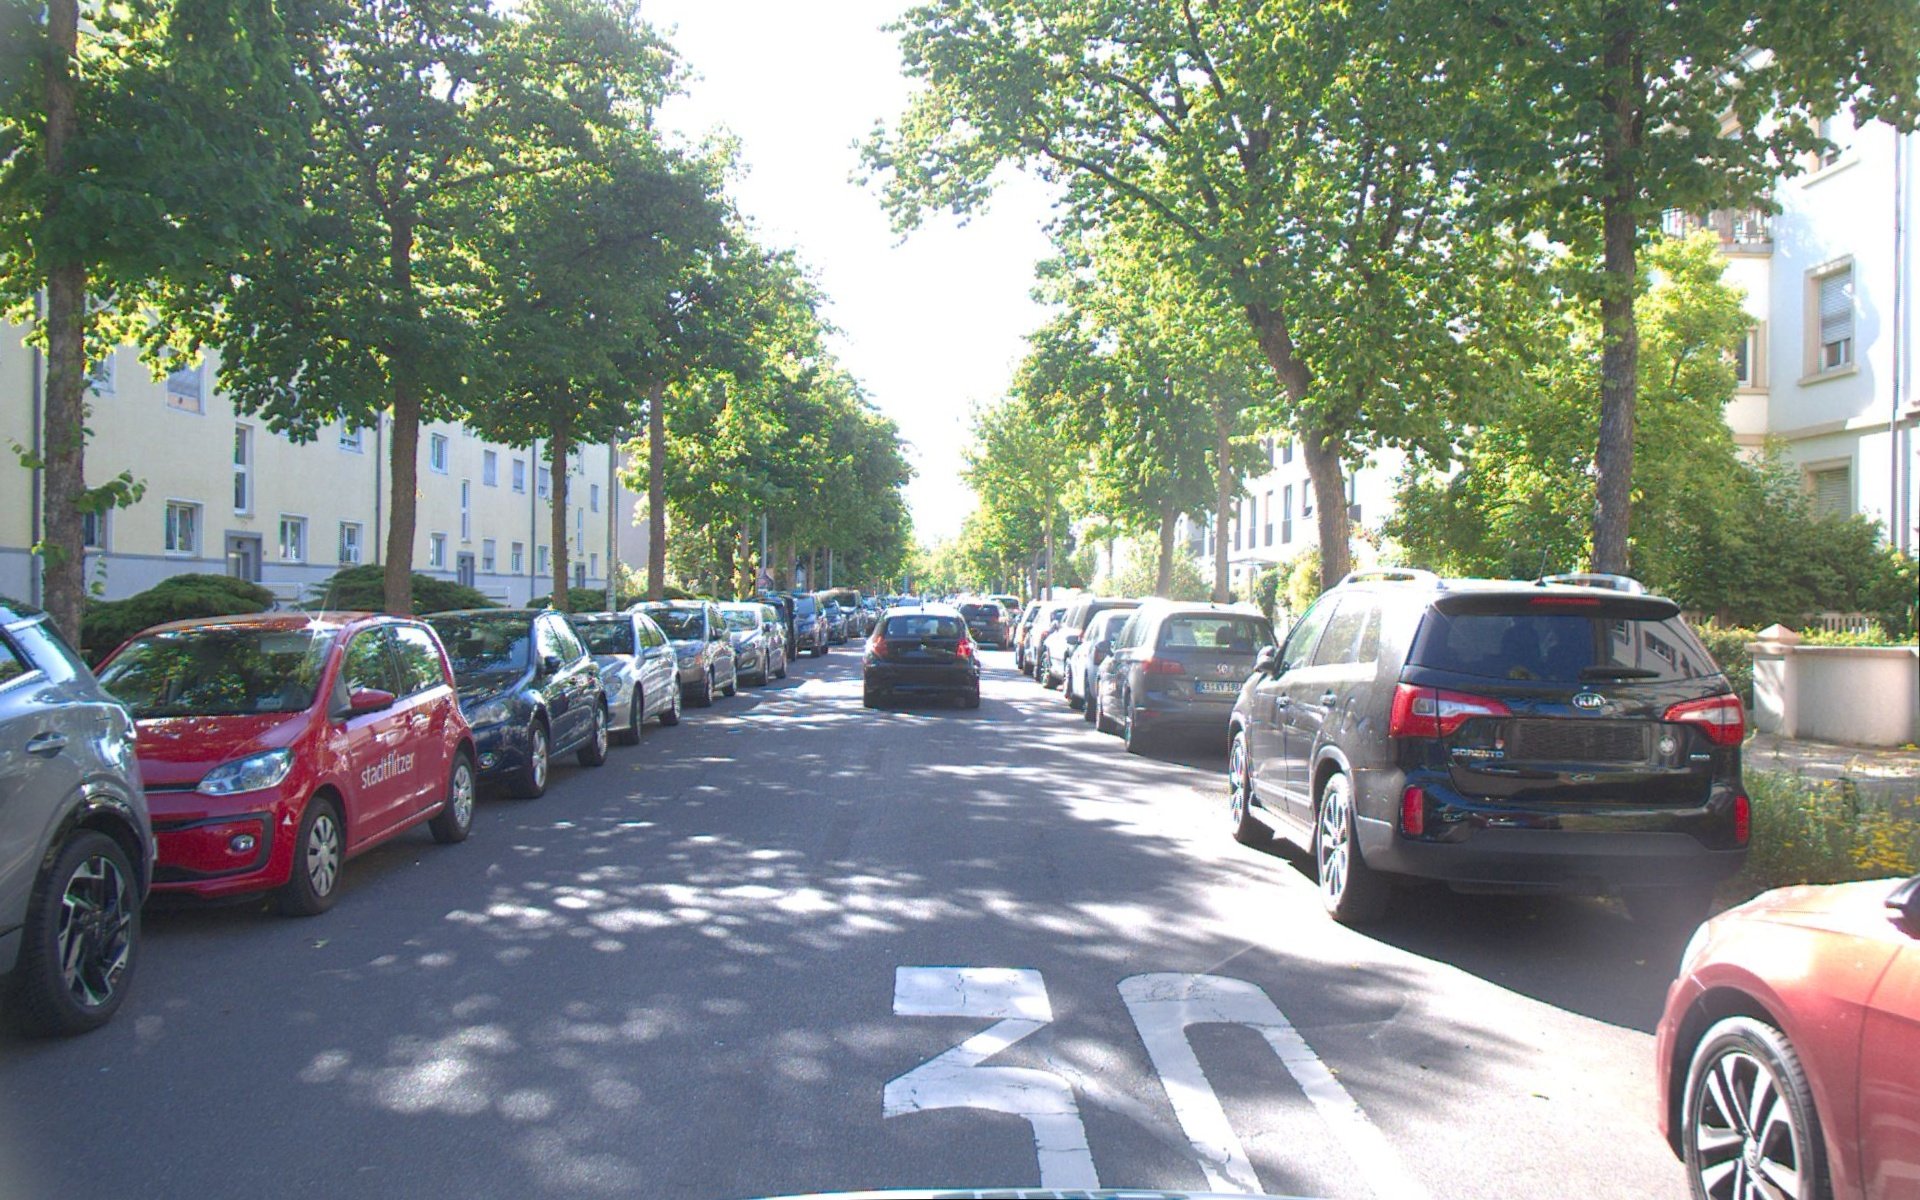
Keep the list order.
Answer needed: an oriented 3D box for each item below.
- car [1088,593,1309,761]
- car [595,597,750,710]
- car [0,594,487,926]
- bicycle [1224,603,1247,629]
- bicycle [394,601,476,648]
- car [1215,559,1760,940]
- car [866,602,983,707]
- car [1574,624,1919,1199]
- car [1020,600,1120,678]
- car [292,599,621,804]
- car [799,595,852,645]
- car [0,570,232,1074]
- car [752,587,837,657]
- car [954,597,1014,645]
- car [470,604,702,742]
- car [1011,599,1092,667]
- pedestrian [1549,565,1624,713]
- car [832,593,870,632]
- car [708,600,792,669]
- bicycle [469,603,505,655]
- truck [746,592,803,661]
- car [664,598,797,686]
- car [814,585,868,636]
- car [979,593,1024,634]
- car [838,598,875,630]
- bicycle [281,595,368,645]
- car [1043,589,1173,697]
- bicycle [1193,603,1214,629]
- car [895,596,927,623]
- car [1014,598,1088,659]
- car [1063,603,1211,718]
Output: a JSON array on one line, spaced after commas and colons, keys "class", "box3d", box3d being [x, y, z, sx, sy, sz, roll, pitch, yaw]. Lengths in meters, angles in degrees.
[{"class": "car", "box3d": [2.586, 0.768, 18.943, 1.650, 1.615, 4.533, 3, 0, -2]}, {"class": "car", "box3d": [-4.338, 0.755, 25.523, 1.587, 1.542, 4.269, -2, 0, 0]}, {"class": "car", "box3d": [-3.909, 0.730, 9.216, 1.631, 1.512, 3.256, 0, 0, -1]}, {"class": "bicycle", "box3d": [11.501, 0.667, 69.100, 0.535, 1.073, 1.779, 0, 0, -3]}, {"class": "bicycle", "box3d": [-12.517, 0.588, 39.449, 1.803, 1.100, 0.486, 0, 0, -4]}, {"class": "car", "box3d": [2.740, 0.669, 9.685, 1.744, 1.728, 4.296, 0, 0, -1]}, {"class": "car", "box3d": [-0.524, 0.755, 24.599, 1.616, 1.421, 3.411, 0, 0, -1]}, {"class": "car", "box3d": [2.694, 0.798, 2.583, 1.579, 1.434, 4.347, 0, 0, -5]}, {"class": "car", "box3d": [2.157, 0.741, 33.294, 1.616, 1.453, 3.610, 0, 0, -3]}, {"class": "car", "box3d": [-4.099, 0.746, 14.112, 1.631, 1.484, 3.932, 0, 0, -1]}, {"class": "car", "box3d": [-4.572, 0.654, 56.591, 1.477, 1.575, 4.777, -2, 0, -1]}, {"class": "car", "box3d": [-3.832, 0.700, 4.634, 1.657, 1.592, 4.733, 0, 0, -2]}, {"class": "car", "box3d": [-4.408, 0.558, 44.638, 1.812, 1.710, 4.975, -2, 0, -1]}, {"class": "car", "box3d": [0.719, 0.647, 52.357, 1.616, 1.450, 3.998, 0, 0, -3]}, {"class": "car", "box3d": [-4.264, 0.770, 19.586, 1.710, 1.392, 4.673, -1, 0, -1]}, {"class": "car", "box3d": [2.074, 0.717, 38.356, 1.603, 1.480, 4.099, 0, 0, -1]}, {"class": "pedestrian", "box3d": [7.825, 0.474, 20.681, 0.609, 1.806, 0.799, -1, 0, -1]}, {"class": "car", "box3d": [-4.767, 0.545, 72.726, 1.580, 1.639, 4.227, -1, 0, -3]}, {"class": "car", "box3d": [-4.520, 0.712, 35.979, 1.490, 1.419, 3.725, 0, 0, -2]}, {"class": "bicycle", "box3d": [-10.533, 0.633, 36.808, 0.479, 1.100, 1.831, 3, -1, -24]}, {"class": "truck", "box3d": [-4.463, 0.616, 40.006, 1.061, 1.605, 2.432, 0, 0, 1]}, {"class": "car", "box3d": [-4.222, 0.732, 31.140, 1.755, 1.470, 4.688, -1, 0, 1]}, {"class": "car", "box3d": [-4.772, 0.399, 67.050, 1.789, 1.938, 5.141, -1, 0, 0]}, {"class": "car", "box3d": [1.730, 0.578, 70.216, 1.810, 1.659, 4.410, 1, 0, 1]}, {"class": "car", "box3d": [-4.866, 0.637, 78.033, 1.579, 1.452, 4.057, -1, 0, -2]}, {"class": "bicycle", "box3d": [-15.109, 0.475, 39.361, 1.803, 1.100, 0.486, 3, -4, -5]}, {"class": "car", "box3d": [2.453, 0.678, 28.180, 1.616, 1.684, 3.844, 1, 0, -4]}, {"class": "bicycle", "box3d": [10.166, 0.666, 69.036, 0.535, 1.073, 1.690, 0, 0, -3]}, {"class": "car", "box3d": [-2.695, 0.492, 91.284, 1.474, 1.451, 3.179, 0, 0, 3]}, {"class": "car", "box3d": [2.308, 0.704, 42.925, 1.666, 1.474, 4.082, 0, 0, 0]}, {"class": "car", "box3d": [2.418, 0.789, 23.535, 1.596, 1.450, 4.367, 0, 0, -1]}]
